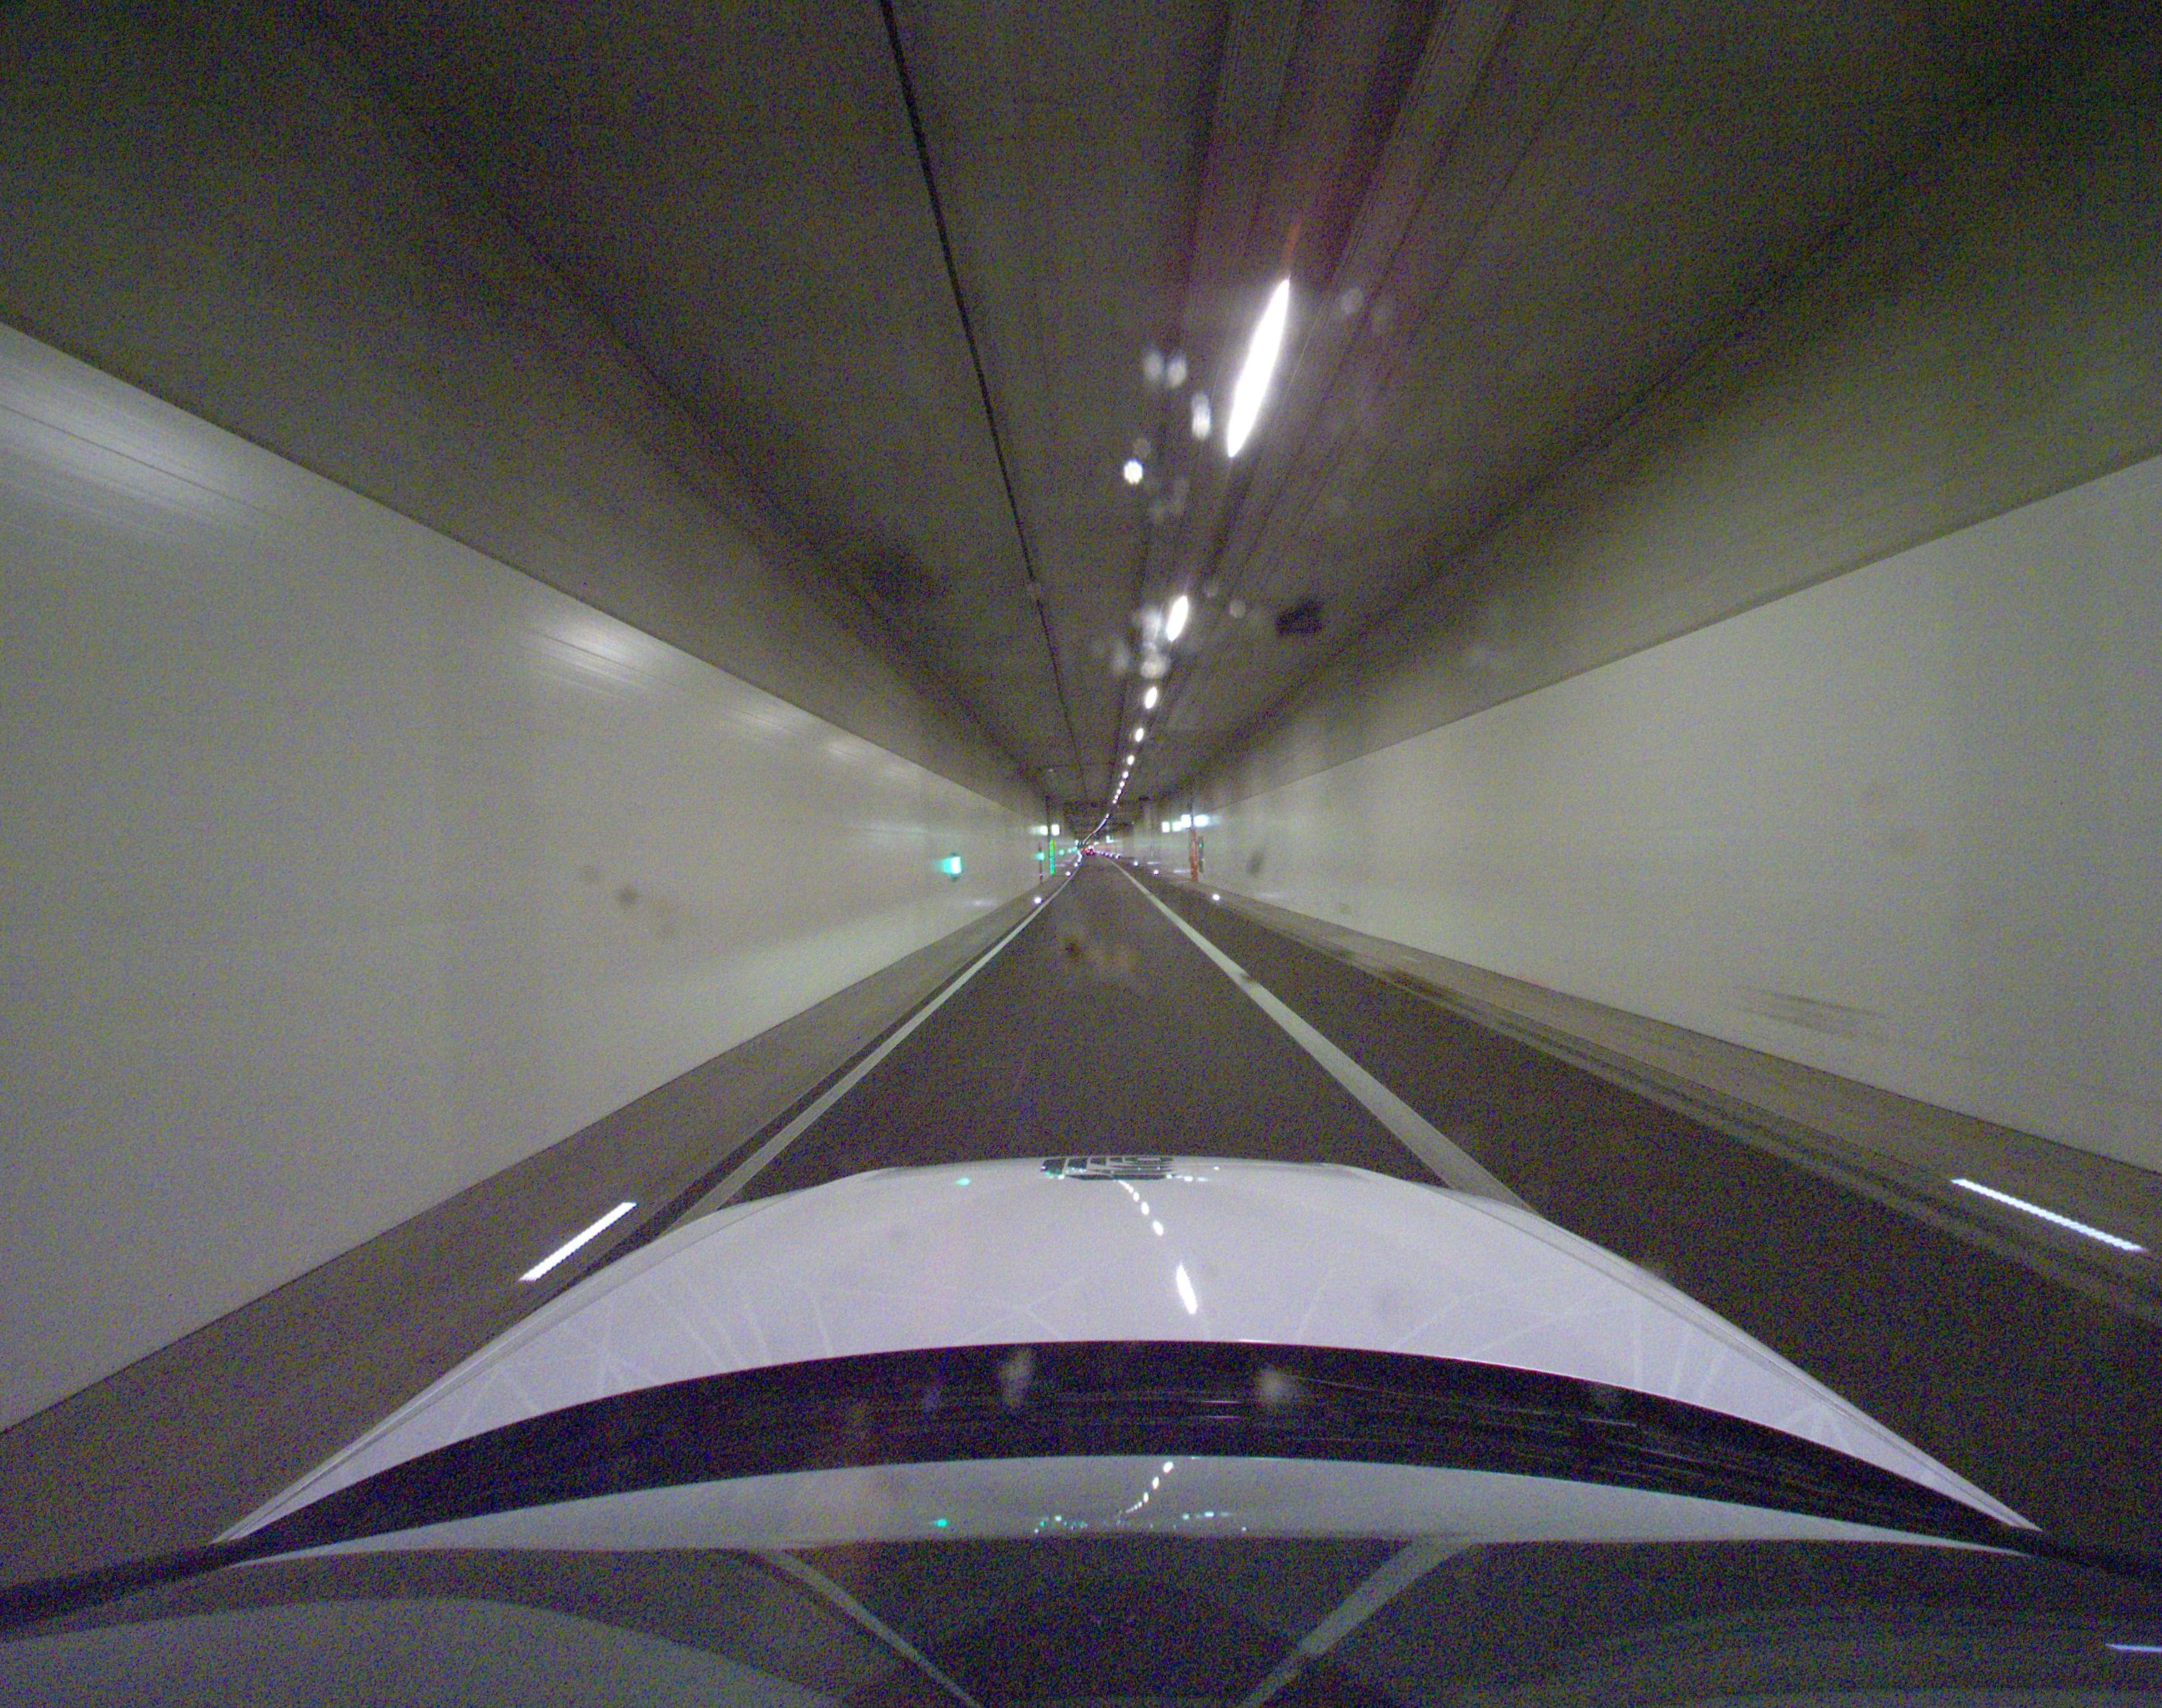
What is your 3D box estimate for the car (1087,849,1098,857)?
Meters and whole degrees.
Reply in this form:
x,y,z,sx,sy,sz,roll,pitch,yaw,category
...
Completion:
x,y,z,sx,sy,sz,roll,pitch,yaw,category
2.123,-0.260,155.285,1.988,1.420,3.999,-3,0,-1,car
